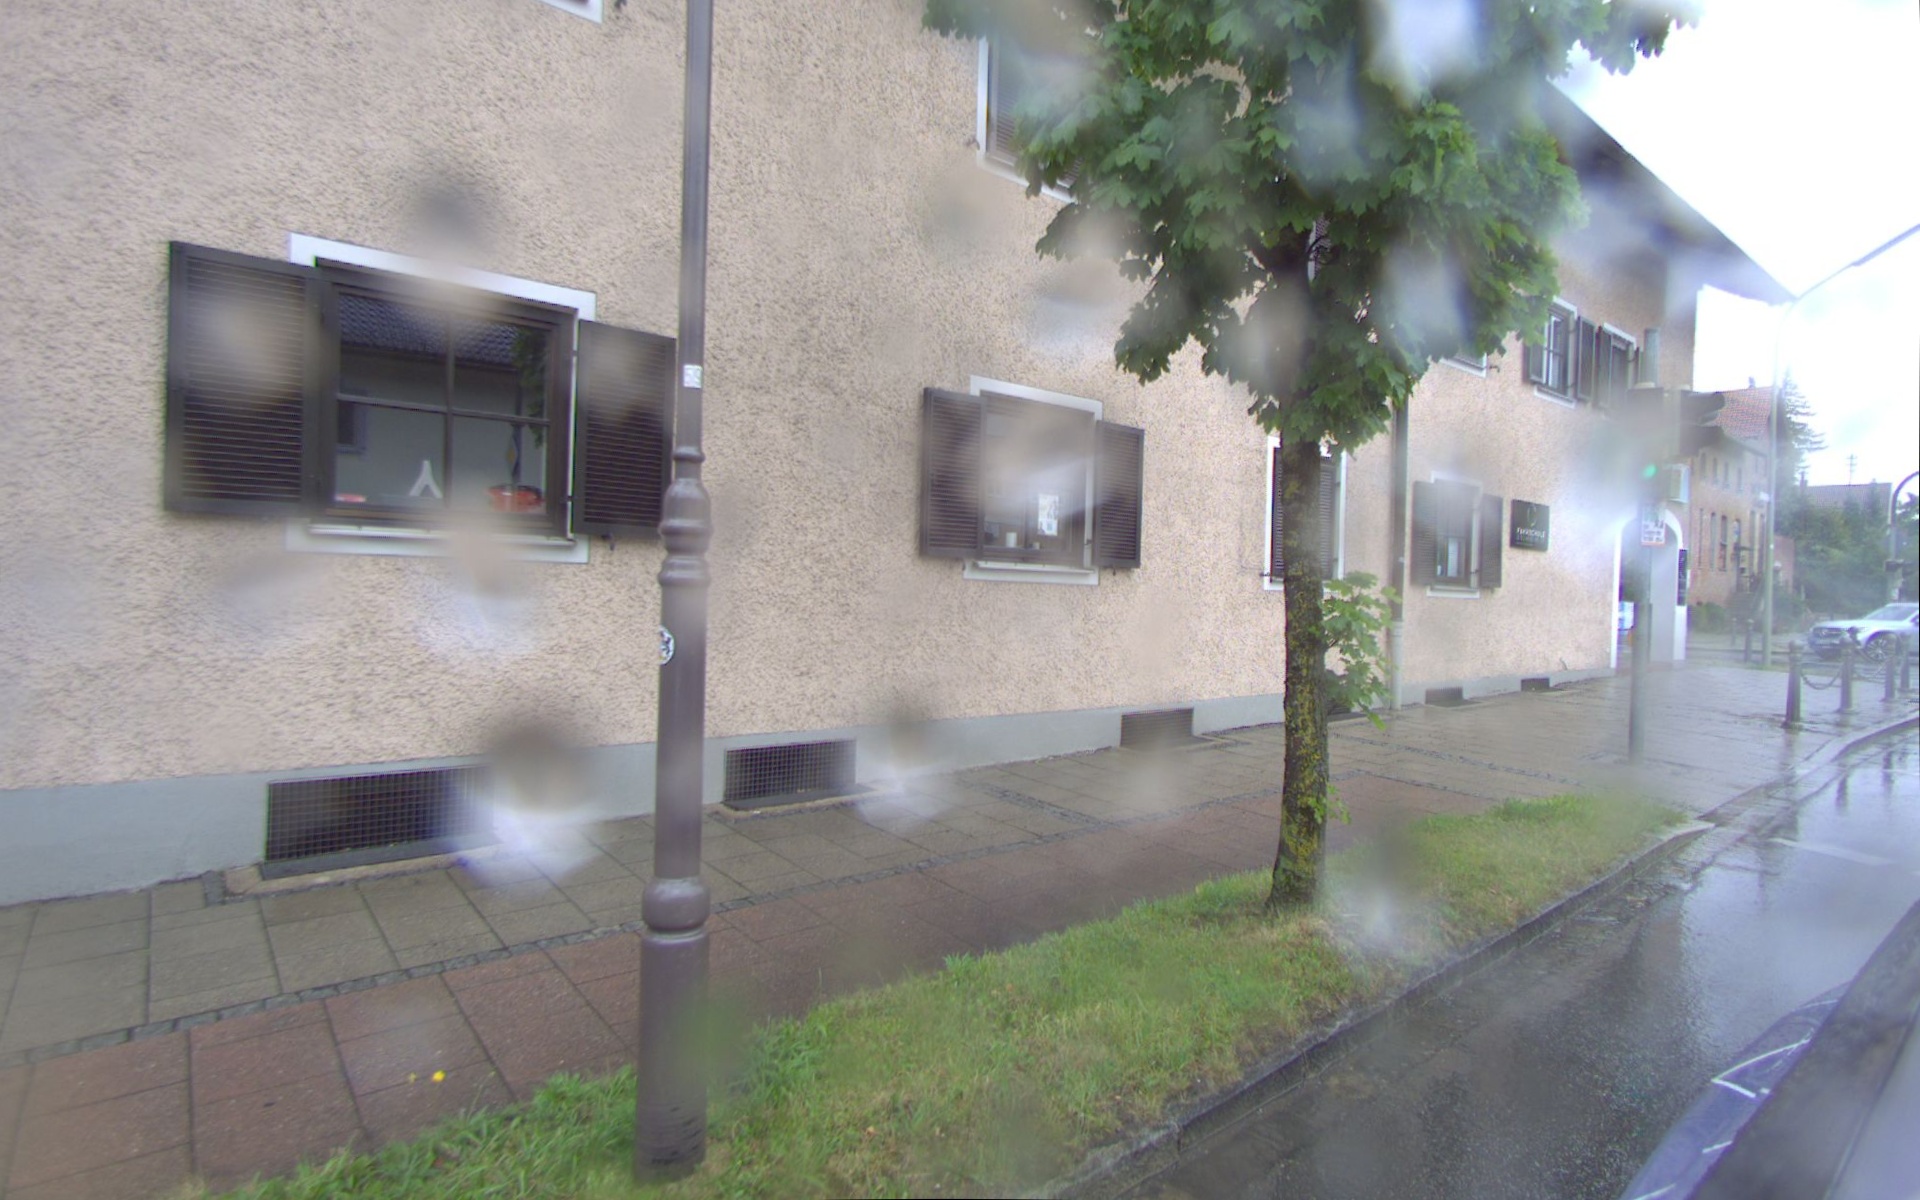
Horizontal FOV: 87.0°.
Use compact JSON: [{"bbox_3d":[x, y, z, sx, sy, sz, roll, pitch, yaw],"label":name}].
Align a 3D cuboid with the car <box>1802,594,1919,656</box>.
[{"bbox_3d":[25.373,0.678,26.728,4.532,1.517,1.734,2,1,7],"label":"car"}]
